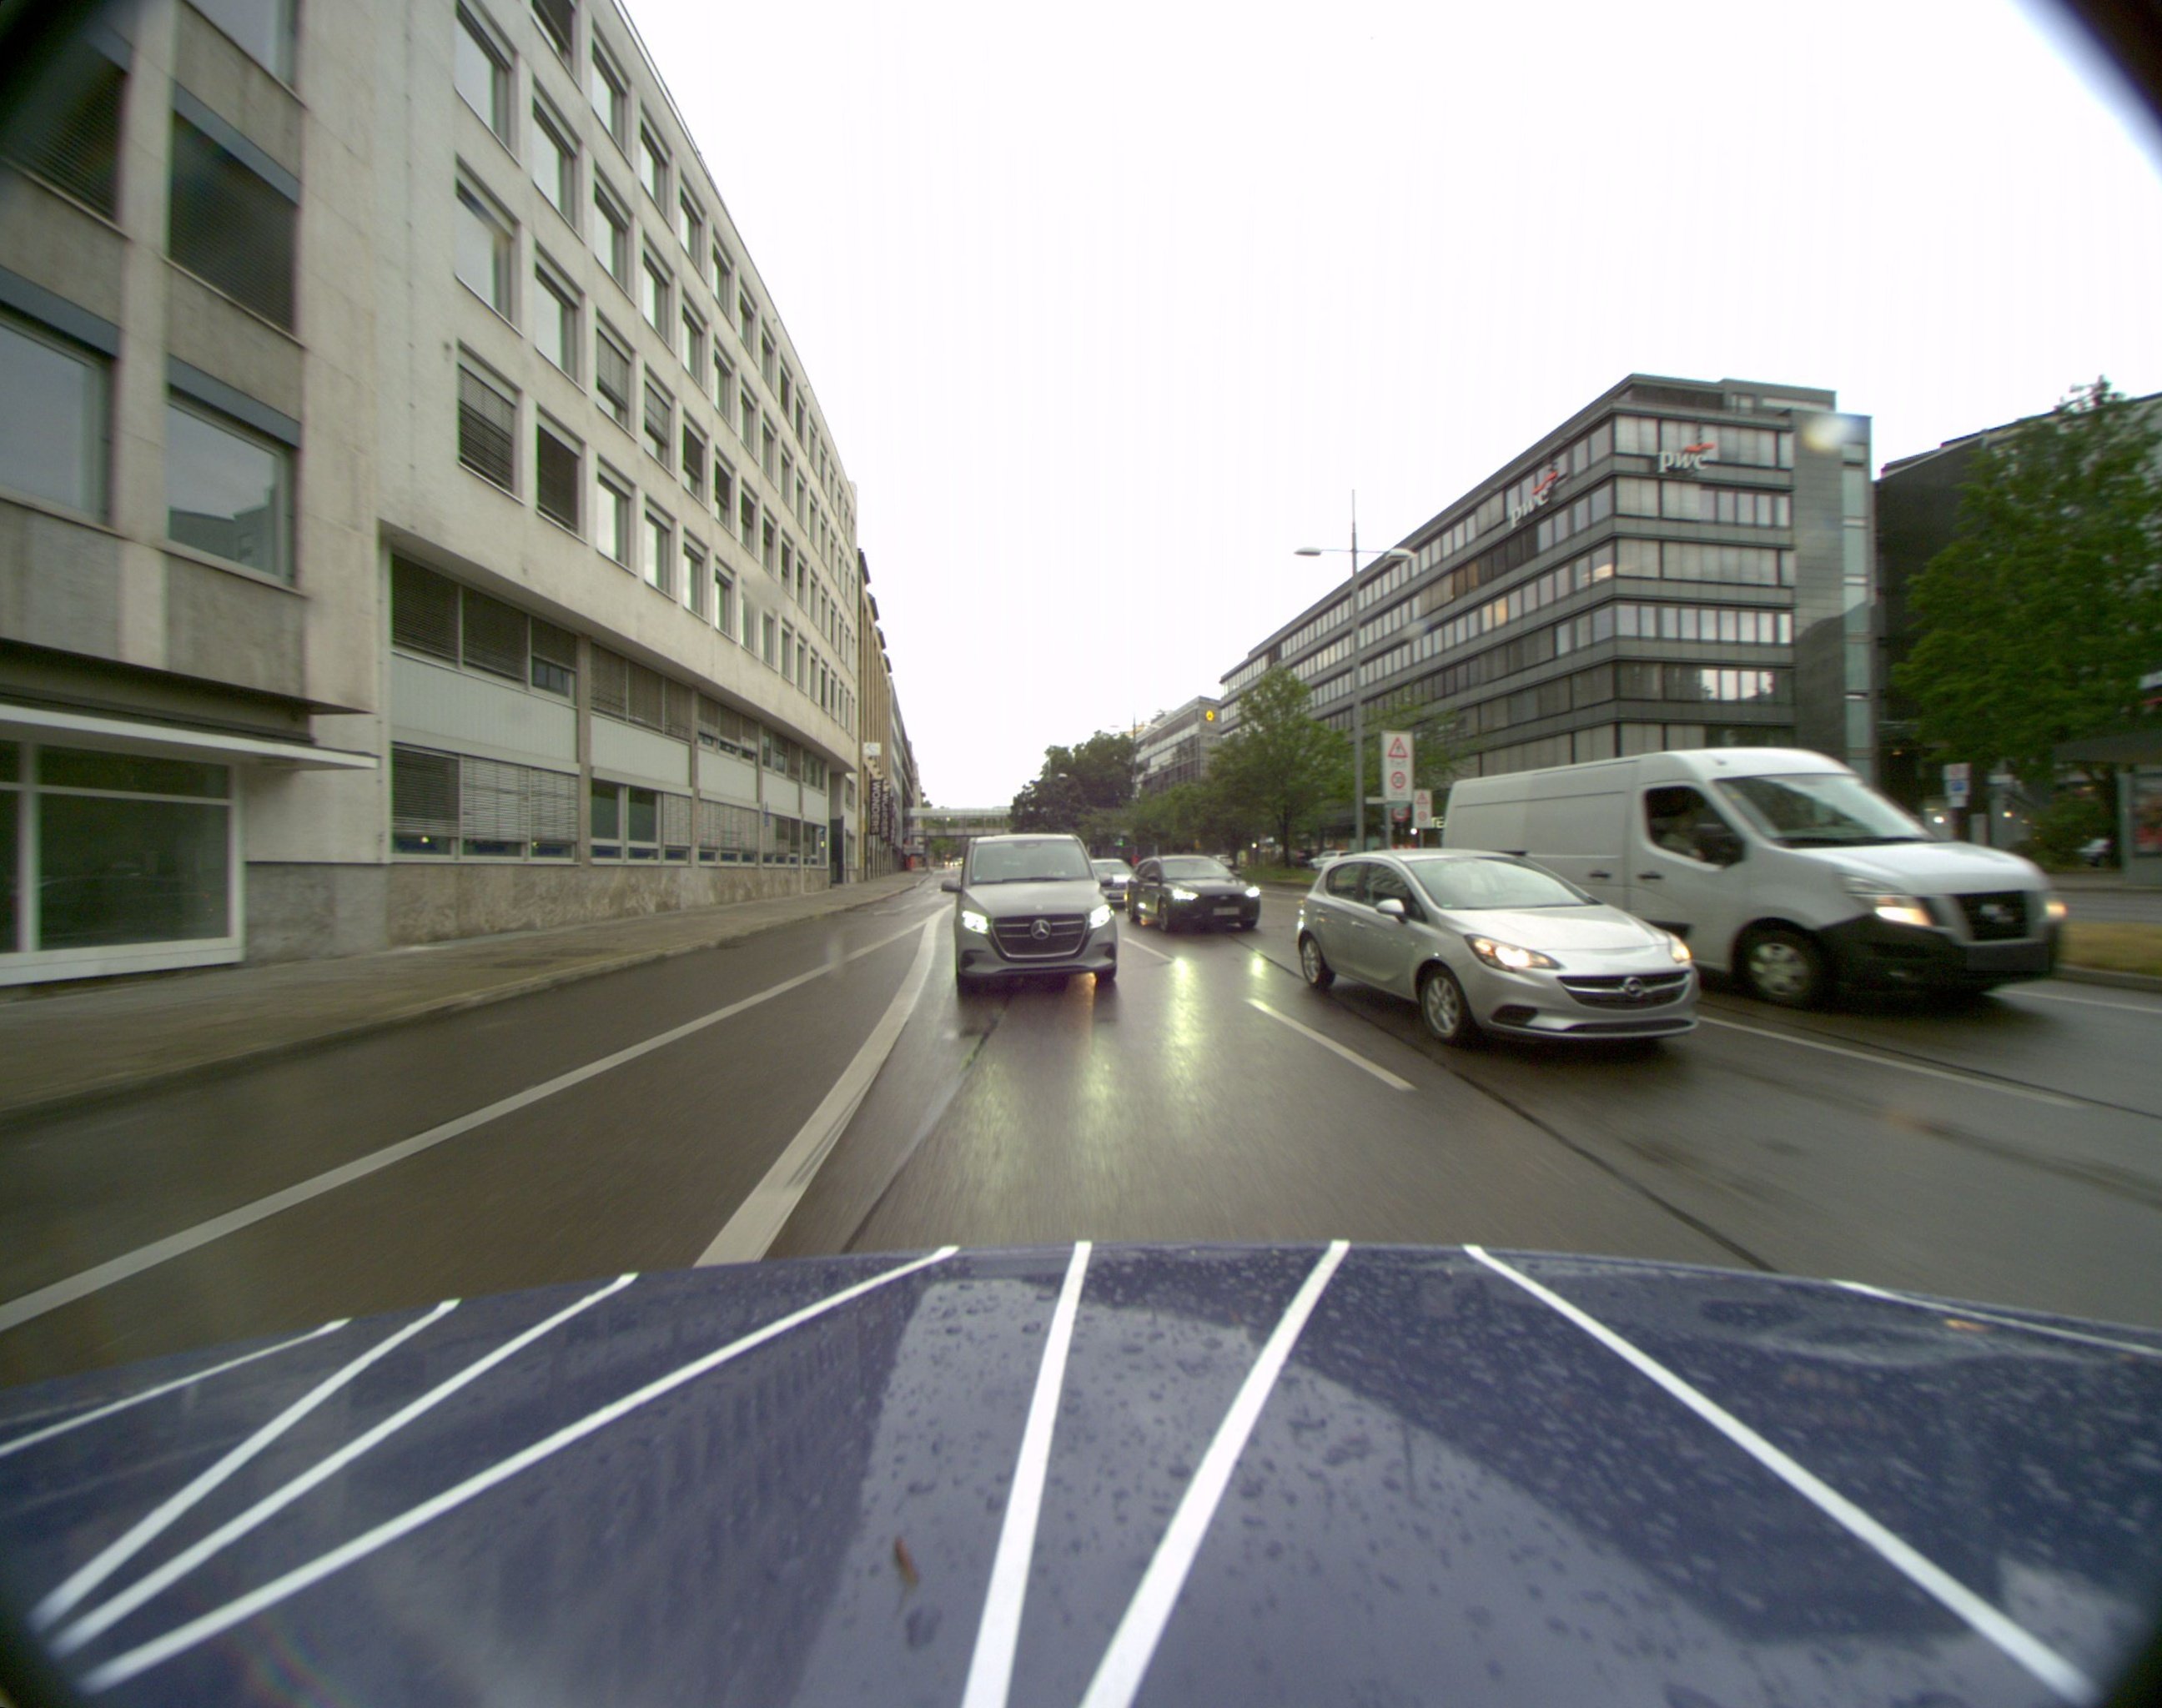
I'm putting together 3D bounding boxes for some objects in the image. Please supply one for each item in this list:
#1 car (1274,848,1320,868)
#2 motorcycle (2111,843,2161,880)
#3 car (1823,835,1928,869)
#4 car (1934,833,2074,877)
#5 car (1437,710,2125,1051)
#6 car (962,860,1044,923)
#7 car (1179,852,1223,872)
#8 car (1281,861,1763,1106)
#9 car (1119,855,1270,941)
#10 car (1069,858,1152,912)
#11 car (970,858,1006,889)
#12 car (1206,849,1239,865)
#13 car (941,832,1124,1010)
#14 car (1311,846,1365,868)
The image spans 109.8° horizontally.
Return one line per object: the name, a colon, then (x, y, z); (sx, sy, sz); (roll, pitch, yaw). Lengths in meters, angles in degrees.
car: (17.553, 0.309, 61.873); (2.000, 1.498, 4.104); (-2, 0, -10)
motorcycle: (33.666, 0.225, 23.808); (1.621, 1.138, 0.361); (-2, 1, 36)
car: (40.218, -0.088, 38.503); (3.764, 1.575, 1.848); (-2, 0, -9)
car: (36.377, 0.036, 29.986); (3.764, 1.575, 1.848); (-2, 0, -9)
car: (6.504, 0.176, 8.310); (1.952, 2.426, 5.476); (-2, 0, -9)
car: (-2.073, 0.911, 20.245); (1.930, 1.471, 3.998); (-1, 0, -6)
car: (9.067, 0.613, 57.750); (1.752, 1.365, 3.995); (-2, 0, -15)
car: (3.316, 0.817, 6.707); (1.653, 1.427, 3.872); (-2, 0, -7)
car: (2.129, 0.783, 15.454); (1.777, 1.427, 4.091); (-2, 0, -10)
car: (0.775, 0.848, 22.650); (1.777, 1.372, 4.092); (-2, 0, -7)
car: (-4.925, 0.997, 40.553); (1.723, 1.456, 4.034); (-2, 1, -6)
car: (14.493, 0.323, 78.171); (2.000, 1.498, 3.996); (-2, 0, -10)
car: (-0.809, 0.720, 10.759); (1.917, 1.844, 5.023); (-2, 0, -7)
car: (18.716, 0.248, 55.508); (2.000, 1.498, 3.996); (-2, 0, -10)
